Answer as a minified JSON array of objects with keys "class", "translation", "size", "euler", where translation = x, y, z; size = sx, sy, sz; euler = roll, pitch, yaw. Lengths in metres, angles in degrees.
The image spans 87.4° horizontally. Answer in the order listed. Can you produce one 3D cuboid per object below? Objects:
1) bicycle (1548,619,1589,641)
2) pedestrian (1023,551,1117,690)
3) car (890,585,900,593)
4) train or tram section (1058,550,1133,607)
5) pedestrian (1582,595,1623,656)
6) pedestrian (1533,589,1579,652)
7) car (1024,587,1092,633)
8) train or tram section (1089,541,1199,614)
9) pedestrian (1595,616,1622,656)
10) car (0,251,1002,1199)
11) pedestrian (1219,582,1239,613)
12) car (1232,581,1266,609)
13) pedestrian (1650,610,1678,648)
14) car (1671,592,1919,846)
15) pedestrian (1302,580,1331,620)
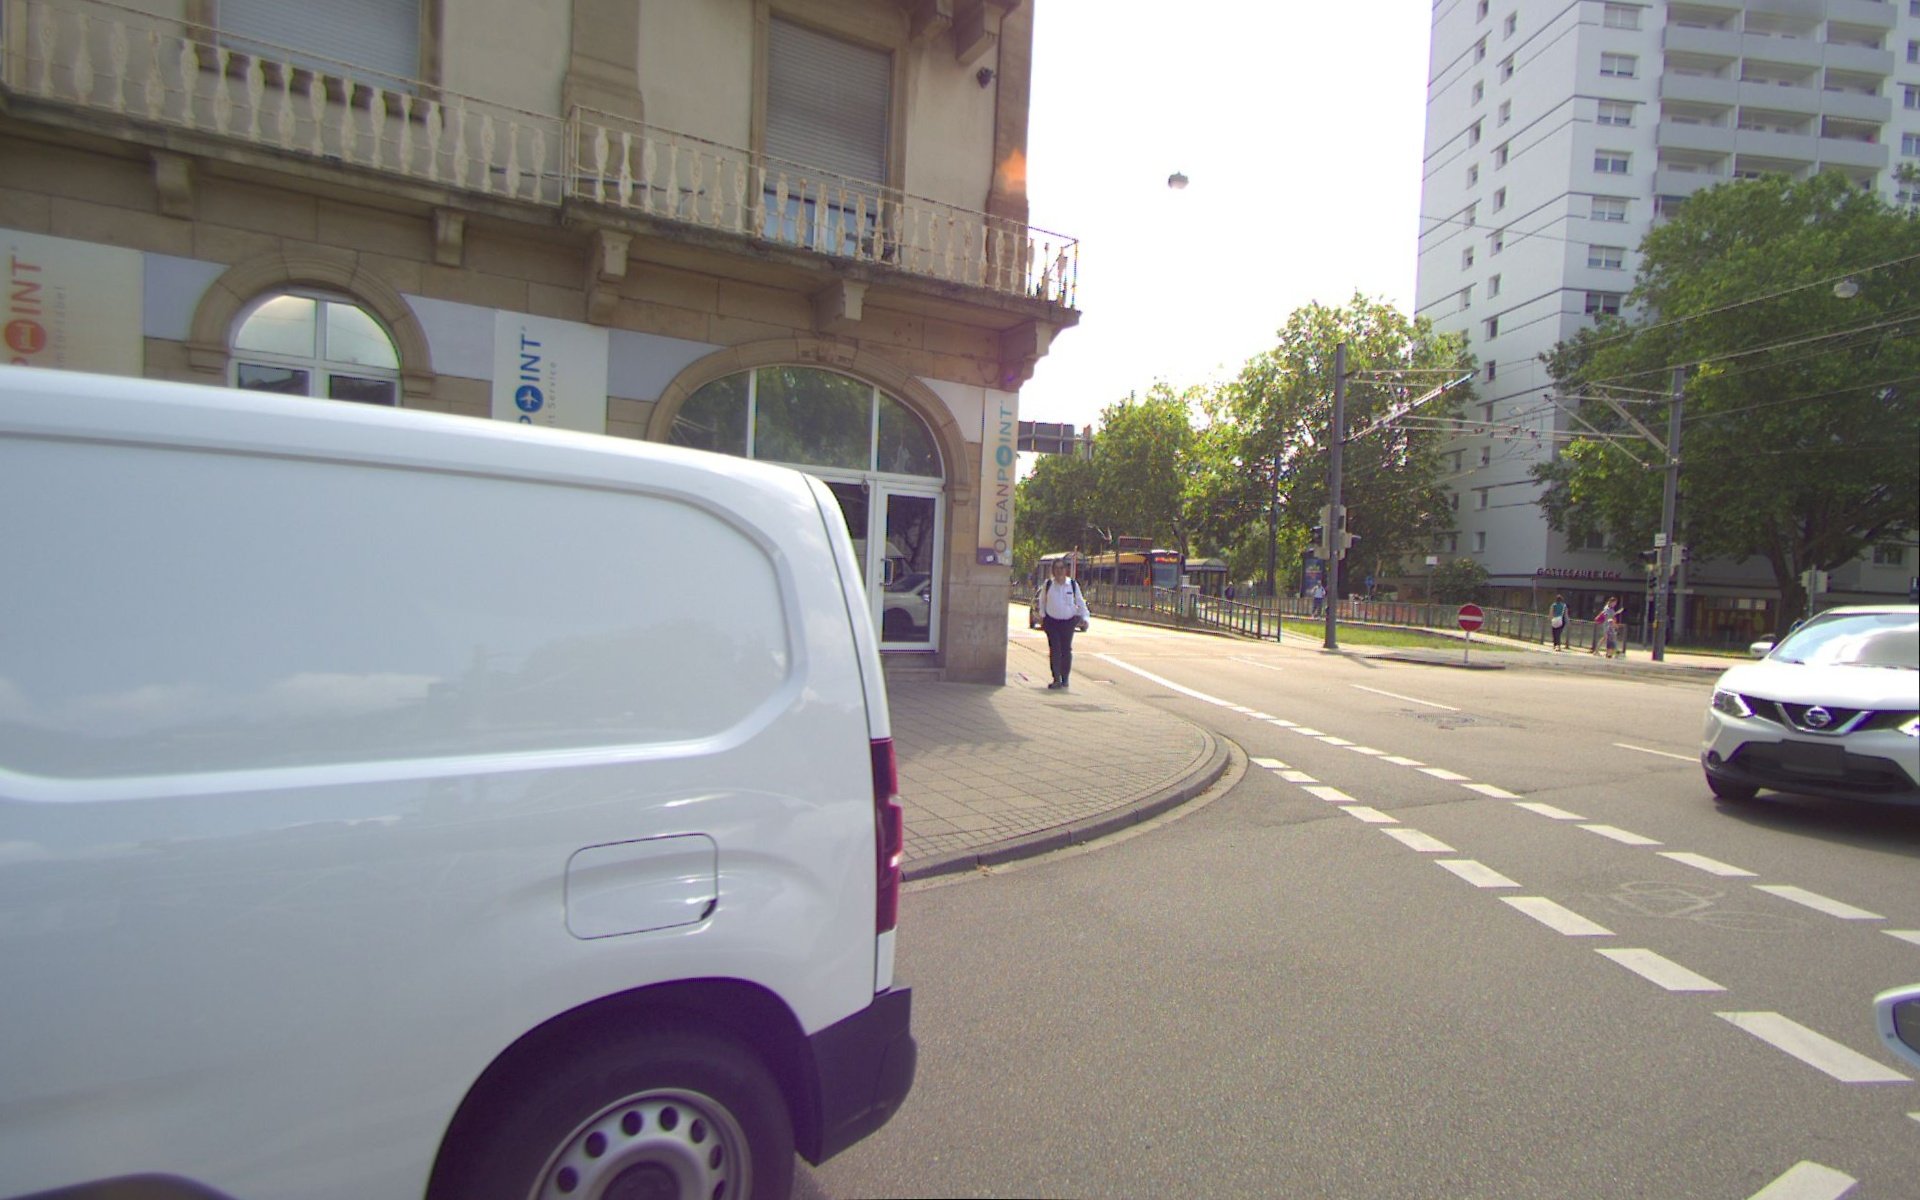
[{"class":"bicycle","translation":[31.210,1.529,51.510],"size":[1.695,1.023,0.534],"euler":[3,1,22]},{"class":"pedestrian","translation":[1.571,0.292,14.432],"size":[0.895,1.884,0.798],"euler":[5,1,-30]},{"class":"car","translation":[-12.123,-2.118,187.631],"size":[1.629,1.390,3.473],"euler":[2,1,-6]},{"class":"train or tram section","translation":[9.352,-1.503,70.607],"size":[2.752,3.632,10.393],"euler":[3,1,-5]},{"class":"pedestrian","translation":[18.323,0.716,28.668],"size":[0.614,1.688,0.676],"euler":[3,2,-3]},{"class":"pedestrian","translation":[18.789,0.639,31.699],"size":[0.814,1.924,0.845],"euler":[3,1,-5]},{"class":"car","translation":[3.407,0.326,35.572],"size":[1.608,1.458,3.639],"euler":[2,1,-7]},{"class":"train or tram section","translation":[10.464,-1.310,58.938],"size":[2.763,3.632,13.003],"euler":[3,1,-5]},{"class":"pedestrian","translation":[18.111,1.004,28.049],"size":[0.412,1.077,0.436],"euler":[3,1,-2]},{"class":"car","translation":[-2.185,0.418,1.825],"size":[4.235,1.799,1.802],"euler":[1,1,-31]},{"class":"pedestrian","translation":[16.274,-0.149,60.691],"size":[0.844,1.798,0.876],"euler":[3,1,-5]},{"class":"car","translation":[29.924,-0.564,104.114],"size":[1.779,2.812,4.274],"euler":[3,1,-6]},{"class":"pedestrian","translation":[30.756,1.258,43.876],"size":[0.525,1.620,0.783],"euler":[2,1,-8]},{"class":"car","translation":[7.525,0.787,7.879],"size":[3.975,1.603,1.761],"euler":[1,1,-32]},{"class":"pedestrian","translation":[16.616,-0.031,46.807],"size":[0.835,1.804,1.044],"euler":[2,1,-5]}]
